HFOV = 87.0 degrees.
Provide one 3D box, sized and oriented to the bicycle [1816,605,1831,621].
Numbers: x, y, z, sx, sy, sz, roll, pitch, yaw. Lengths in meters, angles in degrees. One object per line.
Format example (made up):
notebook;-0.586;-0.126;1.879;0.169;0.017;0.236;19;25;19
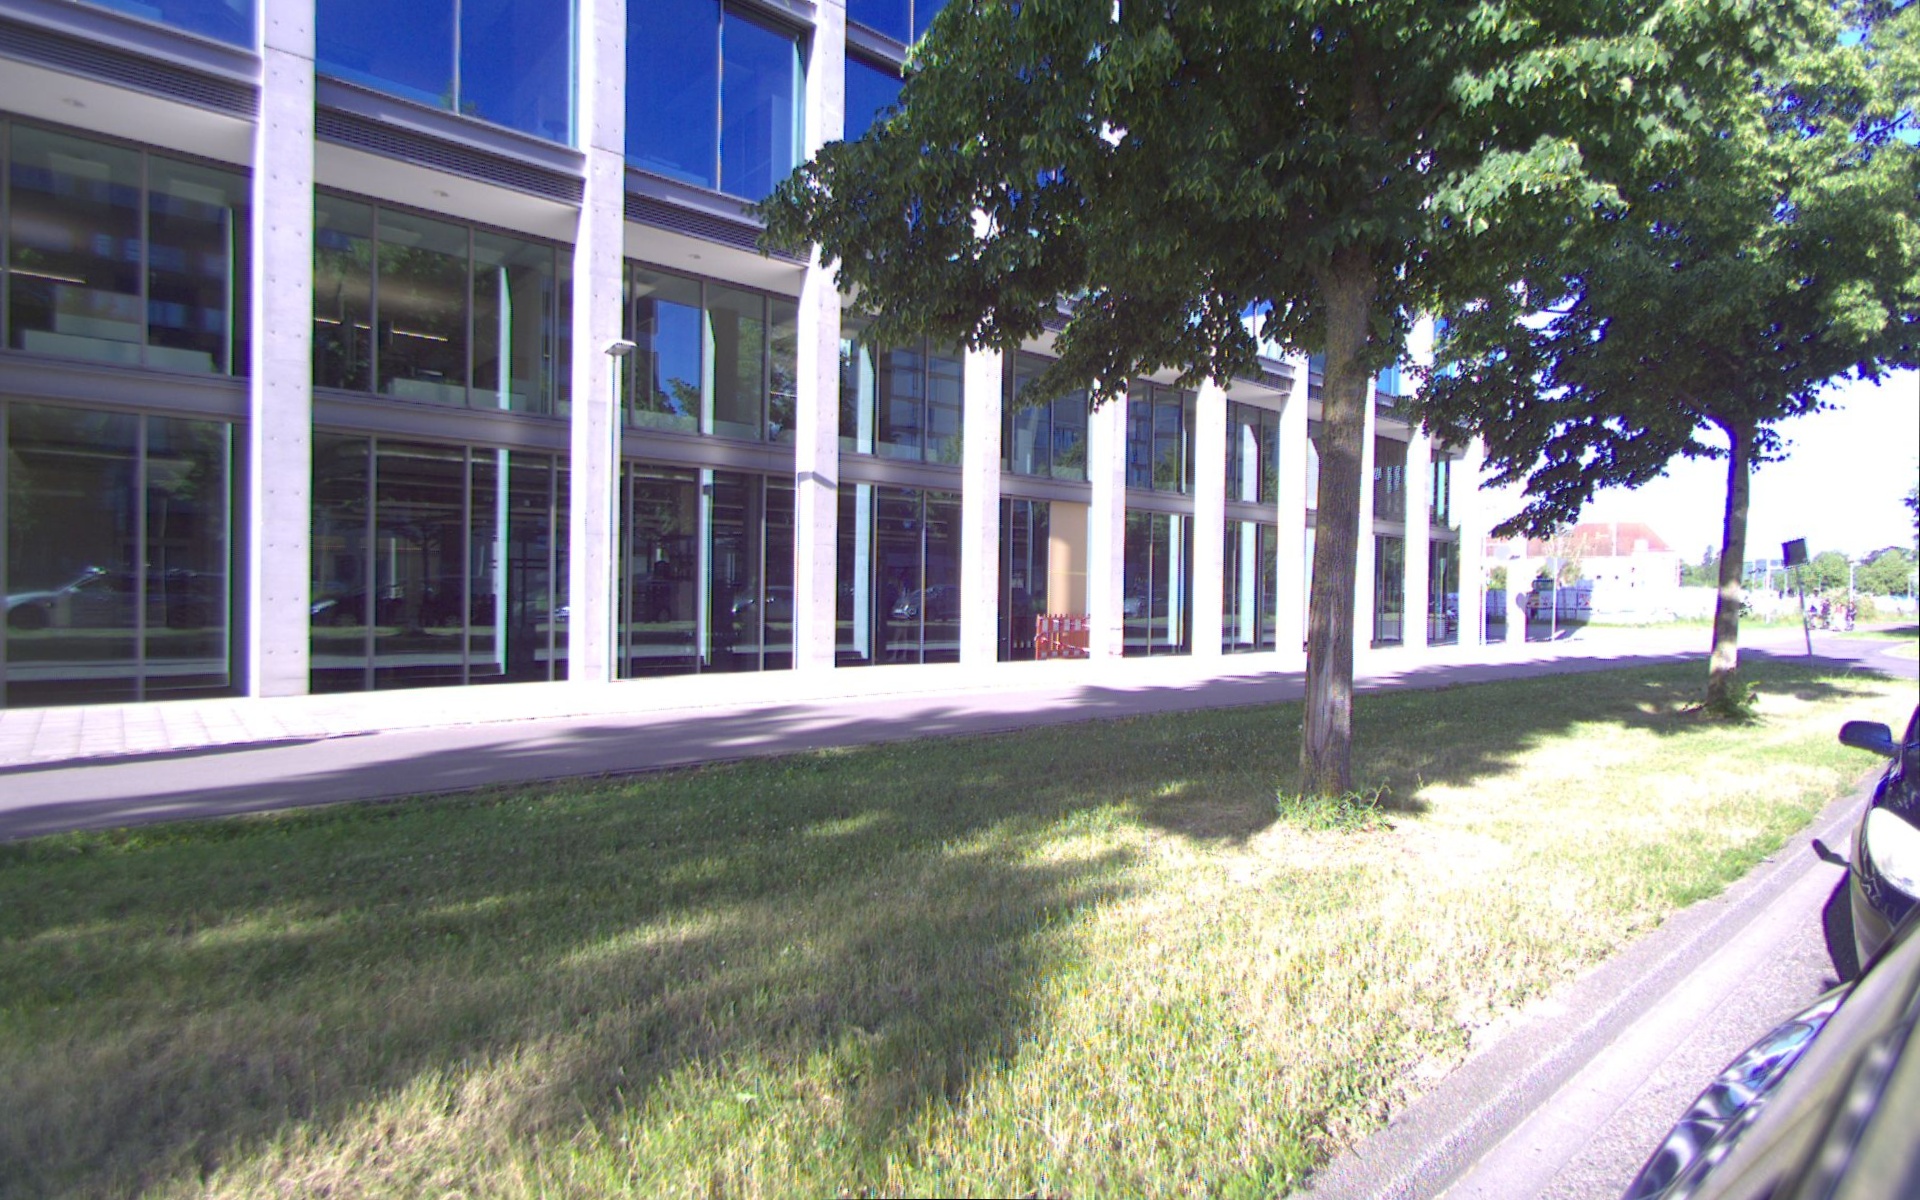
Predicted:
bicycle;47.430;0.699;55.601;1.296;0.828;0.415;-1;0;-40

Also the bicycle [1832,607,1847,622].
bicycle;50.519;0.838;58.110;1.321;0.828;0.464;-1;0;-40

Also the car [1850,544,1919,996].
car;5.116;0.591;4.171;3.719;1.541;1.685;0;1;-41

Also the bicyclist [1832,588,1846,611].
bicyclist;50.516;-0.039;58.137;0.449;1.305;0.534;0;0;-40

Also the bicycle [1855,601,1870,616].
bicycle;51.280;0.502;57.521;1.321;0.828;0.464;-1;0;-40

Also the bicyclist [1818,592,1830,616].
bicyclist;47.557;0.229;55.707;0.410;1.305;0.448;0;0;-40

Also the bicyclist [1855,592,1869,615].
bicyclist;51.237;0.193;57.493;0.512;1.305;0.534;0;0;-40

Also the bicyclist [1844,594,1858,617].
bicyclist;48.156;0.272;54.698;0.498;1.232;0.534;0;0;-40

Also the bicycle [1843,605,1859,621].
bicycle;48.111;0.705;54.650;1.321;0.828;0.464;-1;0;-40
